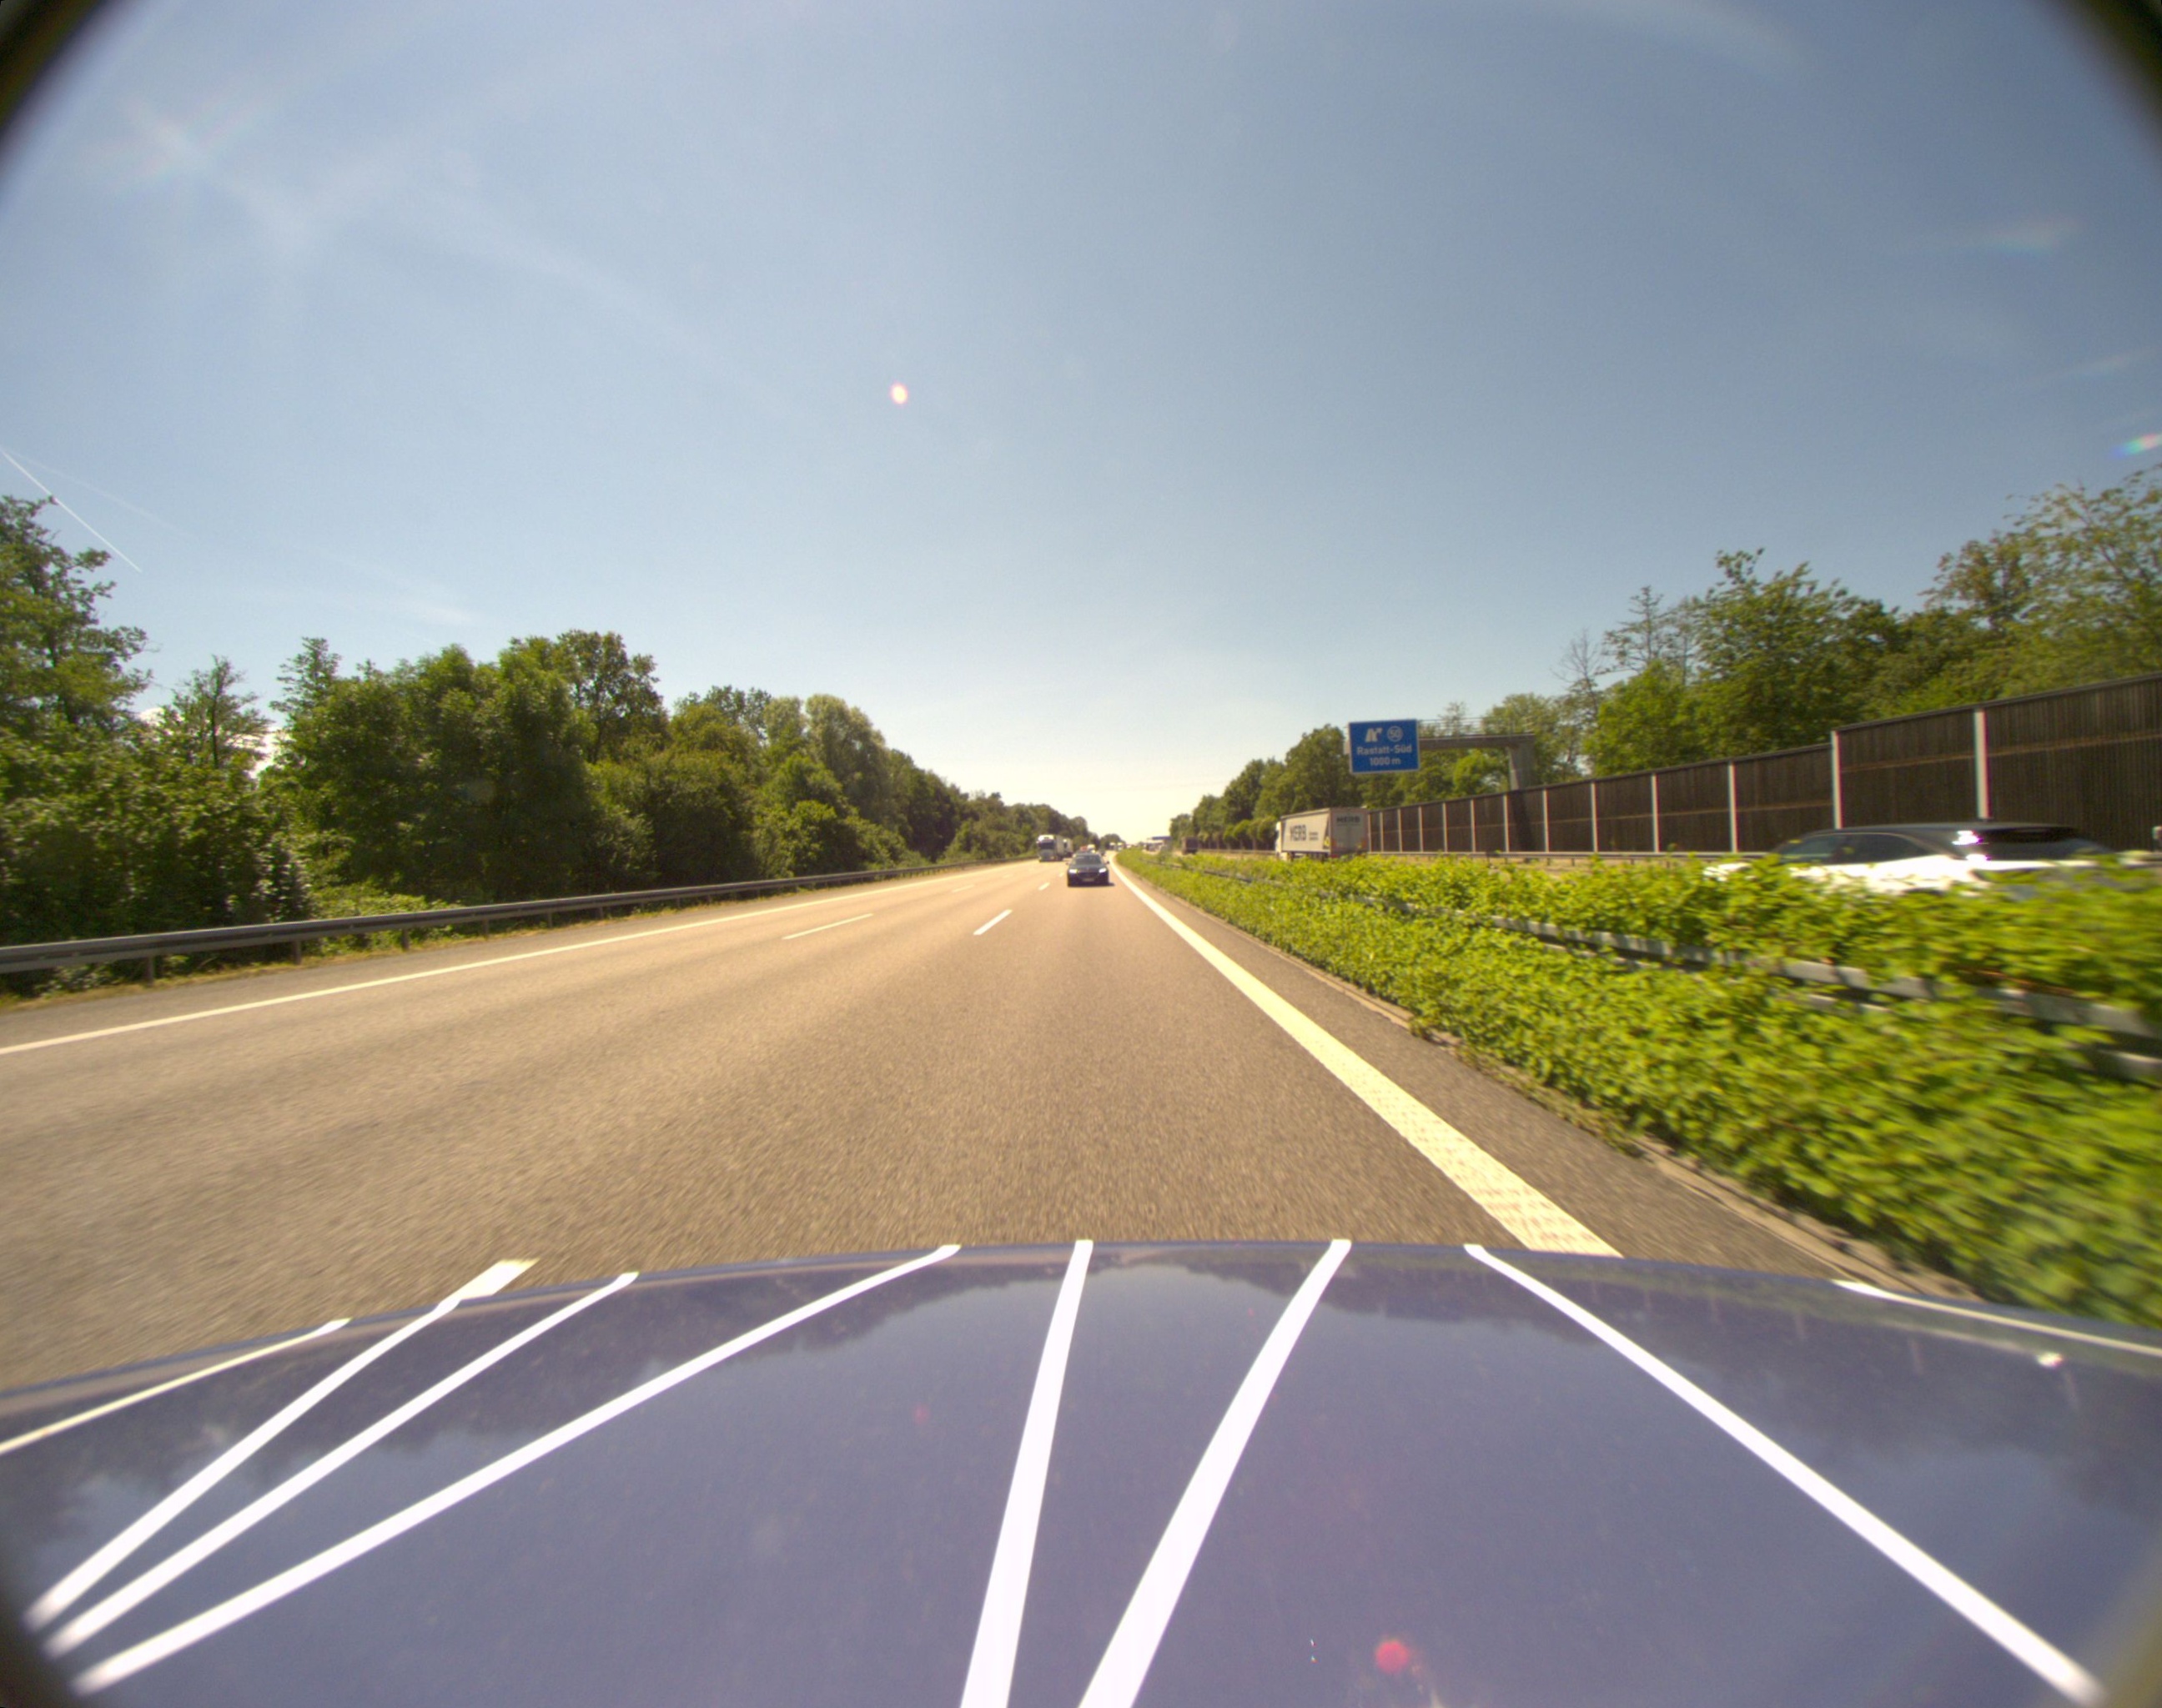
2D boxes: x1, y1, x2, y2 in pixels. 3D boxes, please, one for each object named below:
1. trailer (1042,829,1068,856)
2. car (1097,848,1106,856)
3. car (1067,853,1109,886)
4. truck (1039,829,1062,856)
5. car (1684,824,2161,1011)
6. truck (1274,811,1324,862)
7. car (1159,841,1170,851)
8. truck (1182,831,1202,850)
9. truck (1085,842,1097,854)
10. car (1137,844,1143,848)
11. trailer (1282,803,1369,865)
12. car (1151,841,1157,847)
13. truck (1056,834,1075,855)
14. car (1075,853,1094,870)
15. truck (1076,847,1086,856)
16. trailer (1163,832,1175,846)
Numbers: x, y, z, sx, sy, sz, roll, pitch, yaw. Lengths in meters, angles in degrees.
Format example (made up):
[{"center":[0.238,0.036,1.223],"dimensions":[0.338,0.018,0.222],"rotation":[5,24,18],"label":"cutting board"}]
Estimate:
[{"center":[-4.096,-1.796,121.631],"dimensions":[2.746,3.952,13.656],"rotation":[-2,1,3],"label":"trailer"},{"center":[4.569,-0.392,167.487],"dimensions":[1.879,1.630,4.001],"rotation":[-2,0,3],"label":"car"},{"center":[0.383,0.689,35.694],"dimensions":[1.800,1.390,4.833],"rotation":[-2,0,2],"label":"car"},{"center":[-4.519,-1.725,114.809],"dimensions":[2.729,3.952,6.502],"rotation":[-2,1,4],"label":"truck"},{"center":[9.142,0.529,8.554],"dimensions":[1.587,1.579,4.000],"rotation":[-2,1,2],"label":"car"},{"center":[18.406,-1.465,64.520],"dimensions":[2.526,4.043,6.371],"rotation":[-2,1,2],"label":"truck"},{"center":[17.375,-1.641,158.862],"dimensions":[1.998,2.002,5.102],"rotation":[-2,1,3],"label":"car"},{"center":[22.054,-2.746,151.575],"dimensions":[2.877,3.584,9.951],"rotation":[-2,1,2],"label":"truck"},{"center":[2.867,-1.698,206.856],"dimensions":[2.858,3.163,10.712],"rotation":[-2,0,2],"label":"truck"},{"center":[19.906,-2.736,256.552],"dimensions":[1.630,1.382,3.913],"rotation":[-2,1,1],"label":"car"},{"center":[18.170,-1.399,57.717],"dimensions":[2.490,4.111,13.653],"rotation":[-2,1,2],"label":"trailer"},{"center":[23.856,-3.178,248.462],"dimensions":[1.872,1.809,4.817],"rotation":[-2,1,2],"label":"car"},{"center":[-3.130,-1.928,158.611],"dimensions":[3.049,3.947,14.454],"rotation":[-2,0,2],"label":"truck"},{"center":[0.376,0.736,76.486],"dimensions":[1.862,1.614,3.737],"rotation":[-2,0,1],"label":"car"},{"center":[0.032,-0.826,227.991],"dimensions":[2.436,2.426,10.010],"rotation":[-2,1,3],"label":"truck"},{"center":[27.016,-4.509,233.331],"dimensions":[2.735,3.887,13.762],"rotation":[-2,1,3],"label":"trailer"}]
